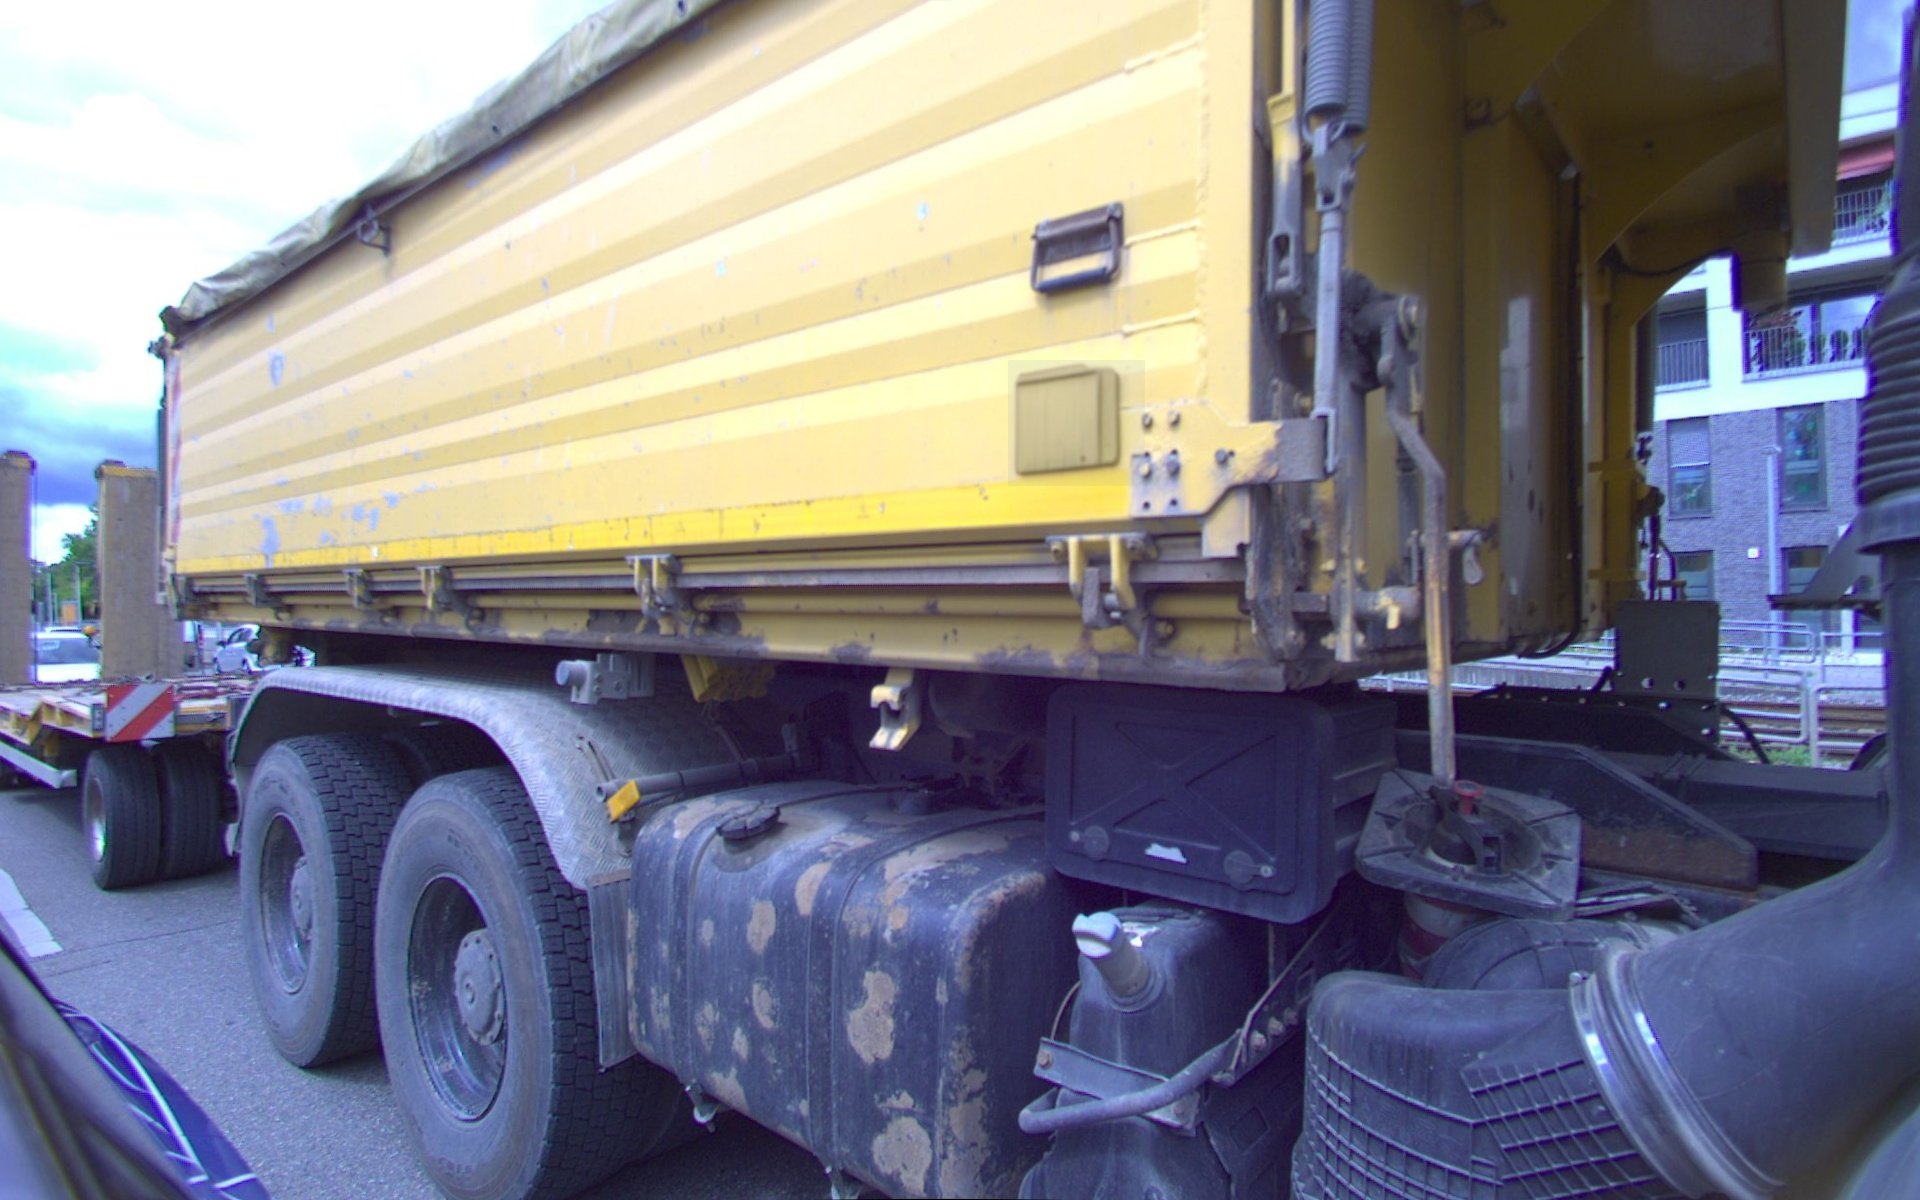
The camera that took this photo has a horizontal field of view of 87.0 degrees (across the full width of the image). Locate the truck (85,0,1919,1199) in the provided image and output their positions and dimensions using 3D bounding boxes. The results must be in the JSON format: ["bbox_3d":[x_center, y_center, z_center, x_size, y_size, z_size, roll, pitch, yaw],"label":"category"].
[{"bbox_3d":[0.153,-0.048,2.679,7.775,3.026,2.692,-1,0,41],"label":"truck"}]

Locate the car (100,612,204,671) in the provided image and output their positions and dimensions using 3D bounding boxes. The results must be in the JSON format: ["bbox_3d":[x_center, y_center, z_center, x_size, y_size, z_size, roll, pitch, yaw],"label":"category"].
[{"bbox_3d":[-26.762,1.355,33.441,4.861,1.785,1.863,-2,-1,41],"label":"car"}]

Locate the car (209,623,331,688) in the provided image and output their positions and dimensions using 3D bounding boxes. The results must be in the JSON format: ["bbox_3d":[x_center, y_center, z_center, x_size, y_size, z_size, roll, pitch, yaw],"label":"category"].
[{"bbox_3d":[-17.269,1.340,25.269,3.564,1.469,1.683,-2,-1,41],"label":"car"}]

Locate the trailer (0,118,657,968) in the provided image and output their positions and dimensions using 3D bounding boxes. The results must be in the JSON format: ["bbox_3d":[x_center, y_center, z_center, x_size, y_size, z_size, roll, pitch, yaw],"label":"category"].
[{"bbox_3d":[-6.864,-0.144,8.847,10.909,3.548,2.678,-2,-1,41],"label":"trailer"}]

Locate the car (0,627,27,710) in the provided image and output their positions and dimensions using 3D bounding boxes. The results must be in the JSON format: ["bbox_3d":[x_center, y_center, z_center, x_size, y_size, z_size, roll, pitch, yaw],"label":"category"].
[{"bbox_3d":[-19.589,1.312,19.720,3.998,1.490,1.671,-1,0,41],"label":"car"}]

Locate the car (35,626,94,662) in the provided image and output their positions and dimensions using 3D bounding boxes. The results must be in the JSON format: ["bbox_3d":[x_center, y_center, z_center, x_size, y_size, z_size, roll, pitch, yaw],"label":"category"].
[{"bbox_3d":[-41.115,2.004,46.443,3.552,1.509,1.623,-2,-1,41],"label":"car"}]

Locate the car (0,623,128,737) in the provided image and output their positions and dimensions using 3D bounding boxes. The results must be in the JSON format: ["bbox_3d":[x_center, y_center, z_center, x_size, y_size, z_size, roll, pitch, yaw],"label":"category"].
[{"bbox_3d":[-14.207,1.125,15.467,3.998,1.490,1.671,-1,0,41],"label":"car"}]
